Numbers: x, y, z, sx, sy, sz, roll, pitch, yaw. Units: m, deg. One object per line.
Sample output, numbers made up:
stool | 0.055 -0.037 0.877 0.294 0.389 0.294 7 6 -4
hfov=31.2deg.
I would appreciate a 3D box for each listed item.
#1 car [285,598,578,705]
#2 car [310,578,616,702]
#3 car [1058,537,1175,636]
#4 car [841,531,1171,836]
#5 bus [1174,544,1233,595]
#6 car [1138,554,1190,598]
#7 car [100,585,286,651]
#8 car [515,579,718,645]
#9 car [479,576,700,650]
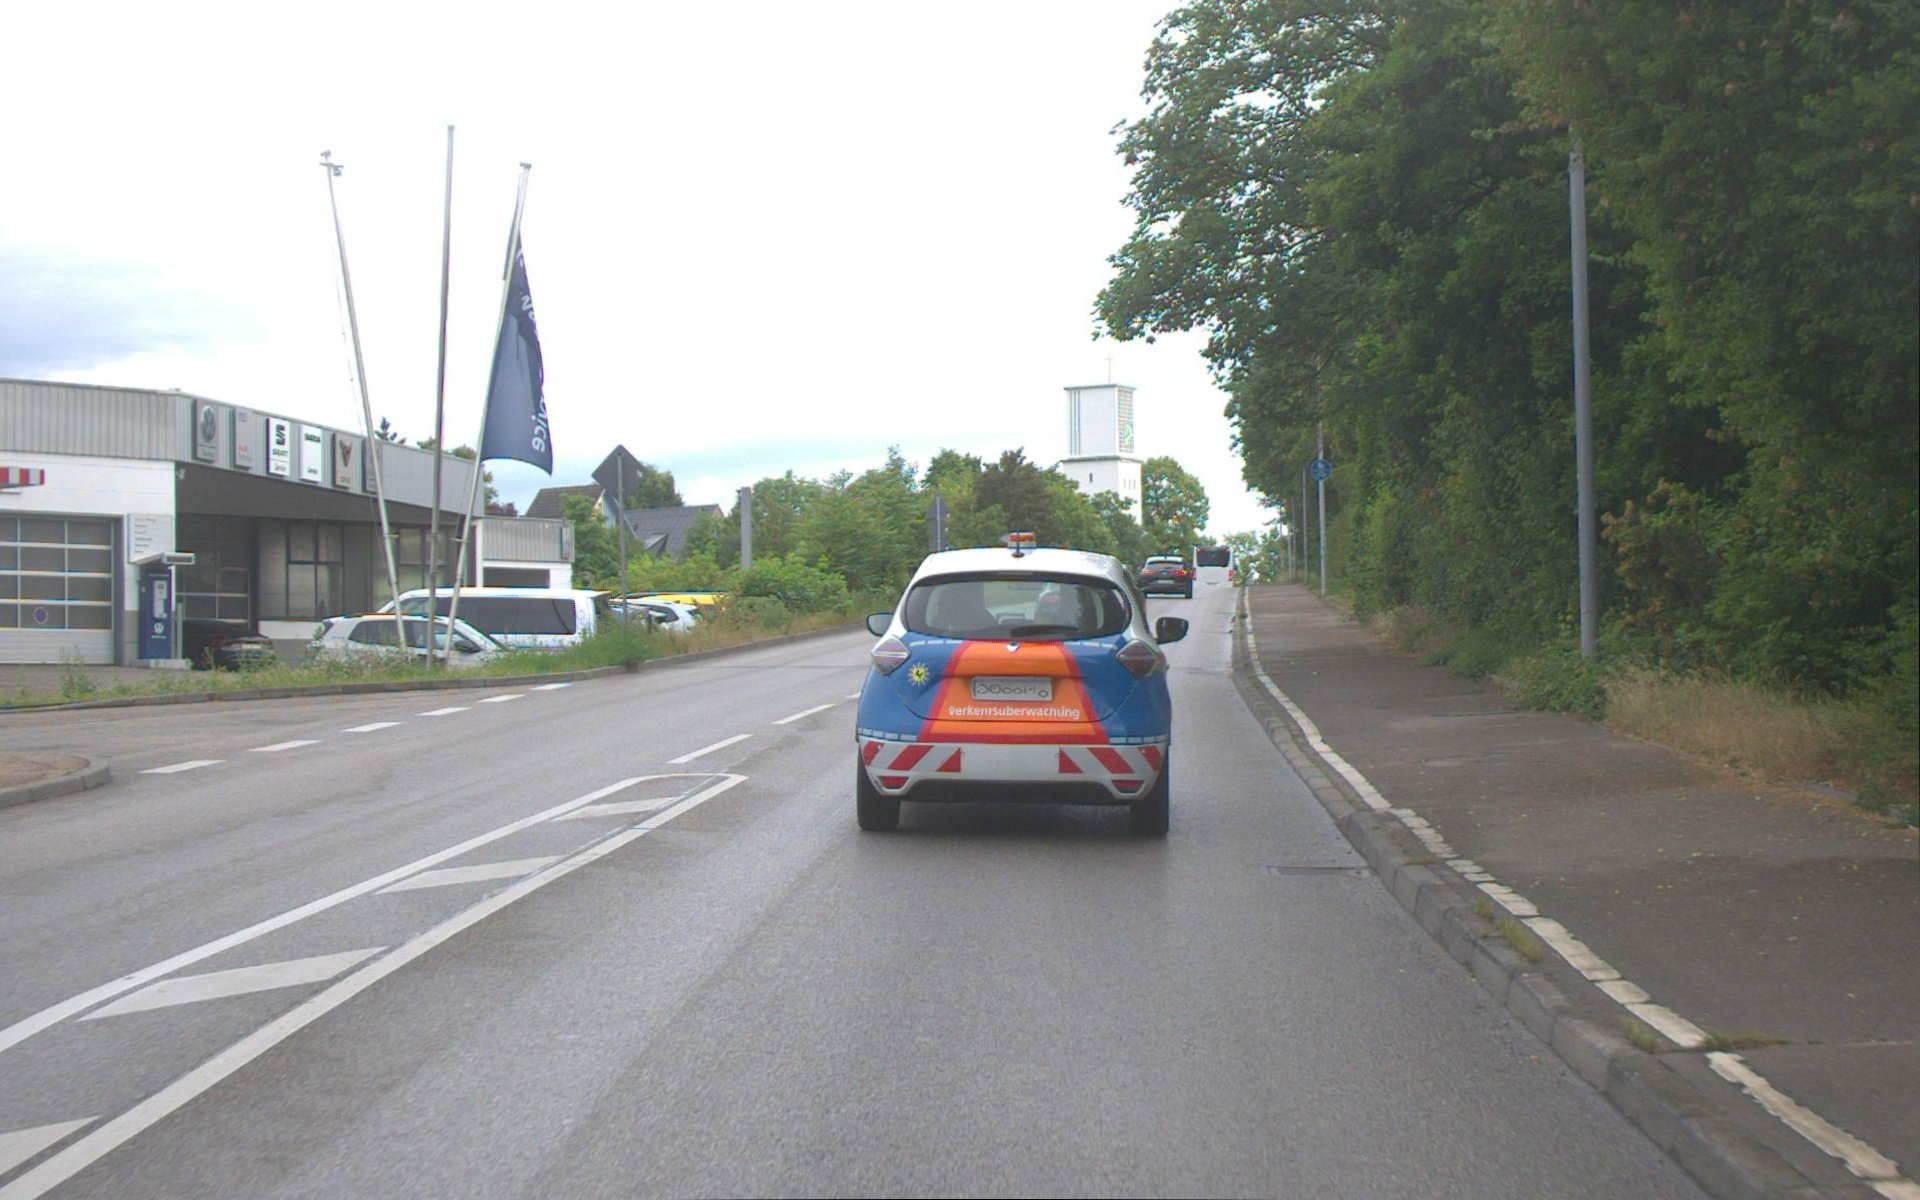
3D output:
car | -7.864 0.754 51.361 4.009 1.473 1.824 -1 1 3
car | -7.749 0.612 53.901 4.413 1.791 1.934 -1 1 3
car | 2.636 -0.218 58.650 1.802 1.584 3.563 -2 0 0
car | 0.347 0.454 19.766 1.657 1.587 3.567 0 -1 5
bus | 15.894 -1.942 224.974 2.910 3.159 11.466 -2 0 0
car | 6.883 -0.795 116.284 1.614 1.402 3.497 -2 0 2
car | -17.291 0.414 77.445 4.018 1.411 1.949 -1 1 38
car | -7.224 0.240 72.589 4.062 1.286 1.804 -1 1 1
car | -7.511 0.255 69.949 4.226 1.364 1.875 -1 1 1
